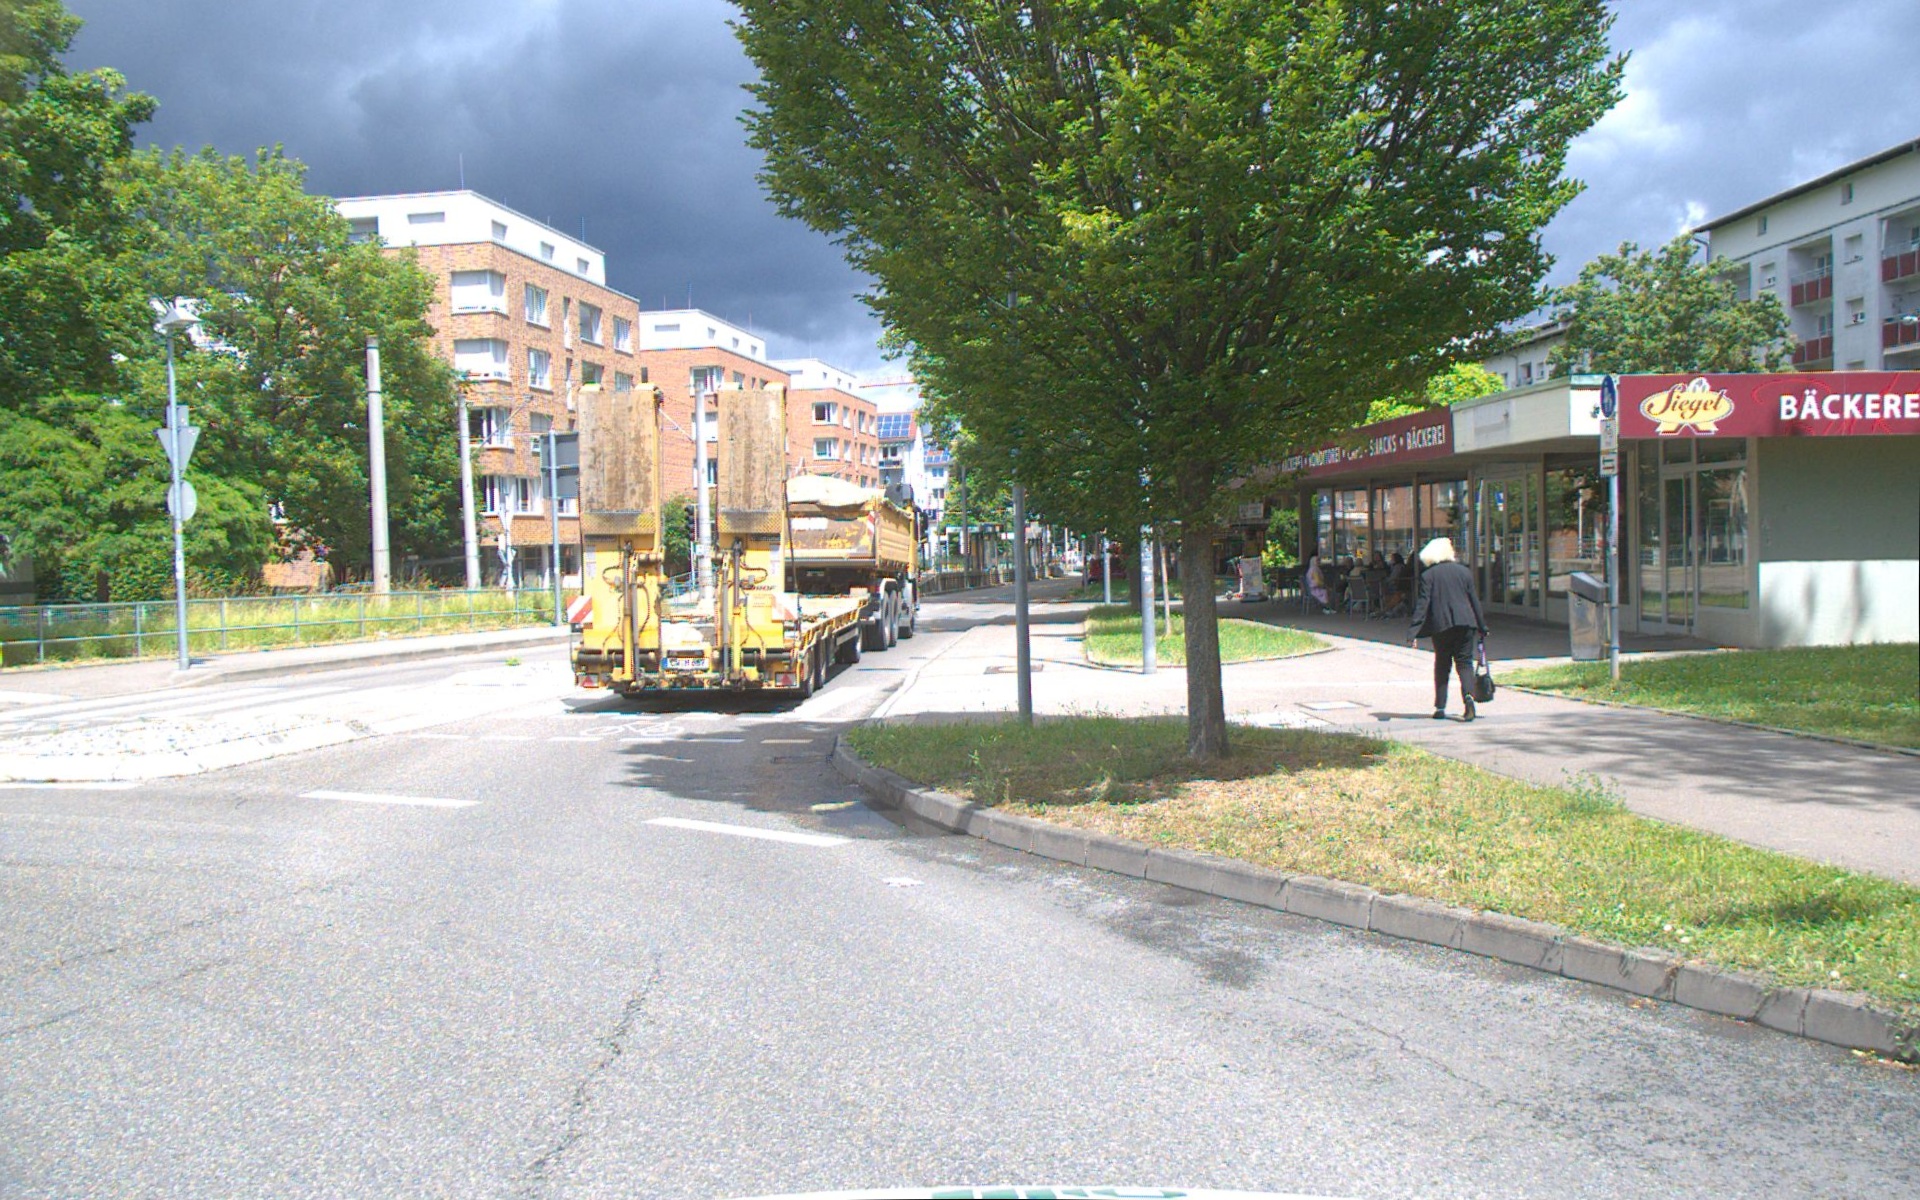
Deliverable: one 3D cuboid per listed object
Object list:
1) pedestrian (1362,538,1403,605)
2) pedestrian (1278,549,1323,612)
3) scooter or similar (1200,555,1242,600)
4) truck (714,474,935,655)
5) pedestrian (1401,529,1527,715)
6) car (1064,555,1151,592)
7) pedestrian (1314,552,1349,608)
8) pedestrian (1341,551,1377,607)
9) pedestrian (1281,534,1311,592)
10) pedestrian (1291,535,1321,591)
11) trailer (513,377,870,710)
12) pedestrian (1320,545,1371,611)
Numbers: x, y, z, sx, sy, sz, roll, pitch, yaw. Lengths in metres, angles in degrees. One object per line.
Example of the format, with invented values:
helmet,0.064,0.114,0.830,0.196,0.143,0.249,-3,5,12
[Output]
pedestrian,9.171,-0.616,35.895,0.703,1.404,0.699,-2,1,4
pedestrian,7.554,-0.441,36.697,0.859,1.347,0.611,-2,1,5
scooter or similar,7.898,-0.687,50.007,0.509,1.247,1.725,-1,3,36
truck,-2.418,-0.832,33.029,2.925,3.087,8.494,-1,3,5
pedestrian,4.359,0.178,14.353,0.853,1.545,0.804,-1,1,4
car,6.969,-1.239,77.909,3.902,1.537,2.003,-1,4,9
pedestrian,8.400,-0.457,37.431,0.702,1.222,0.699,-2,1,11
pedestrian,8.970,-0.469,37.226,0.702,1.222,0.699,-2,1,11
pedestrian,9.489,-1.053,46.767,0.682,1.600,0.557,-2,1,1
pedestrian,9.672,-1.038,46.211,0.682,1.514,0.557,-2,1,1
trailer,-3.139,-0.697,22.929,2.804,3.431,10.844,-2,1,2
pedestrian,8.341,-0.475,35.801,0.860,1.347,0.823,-3,4,-3
